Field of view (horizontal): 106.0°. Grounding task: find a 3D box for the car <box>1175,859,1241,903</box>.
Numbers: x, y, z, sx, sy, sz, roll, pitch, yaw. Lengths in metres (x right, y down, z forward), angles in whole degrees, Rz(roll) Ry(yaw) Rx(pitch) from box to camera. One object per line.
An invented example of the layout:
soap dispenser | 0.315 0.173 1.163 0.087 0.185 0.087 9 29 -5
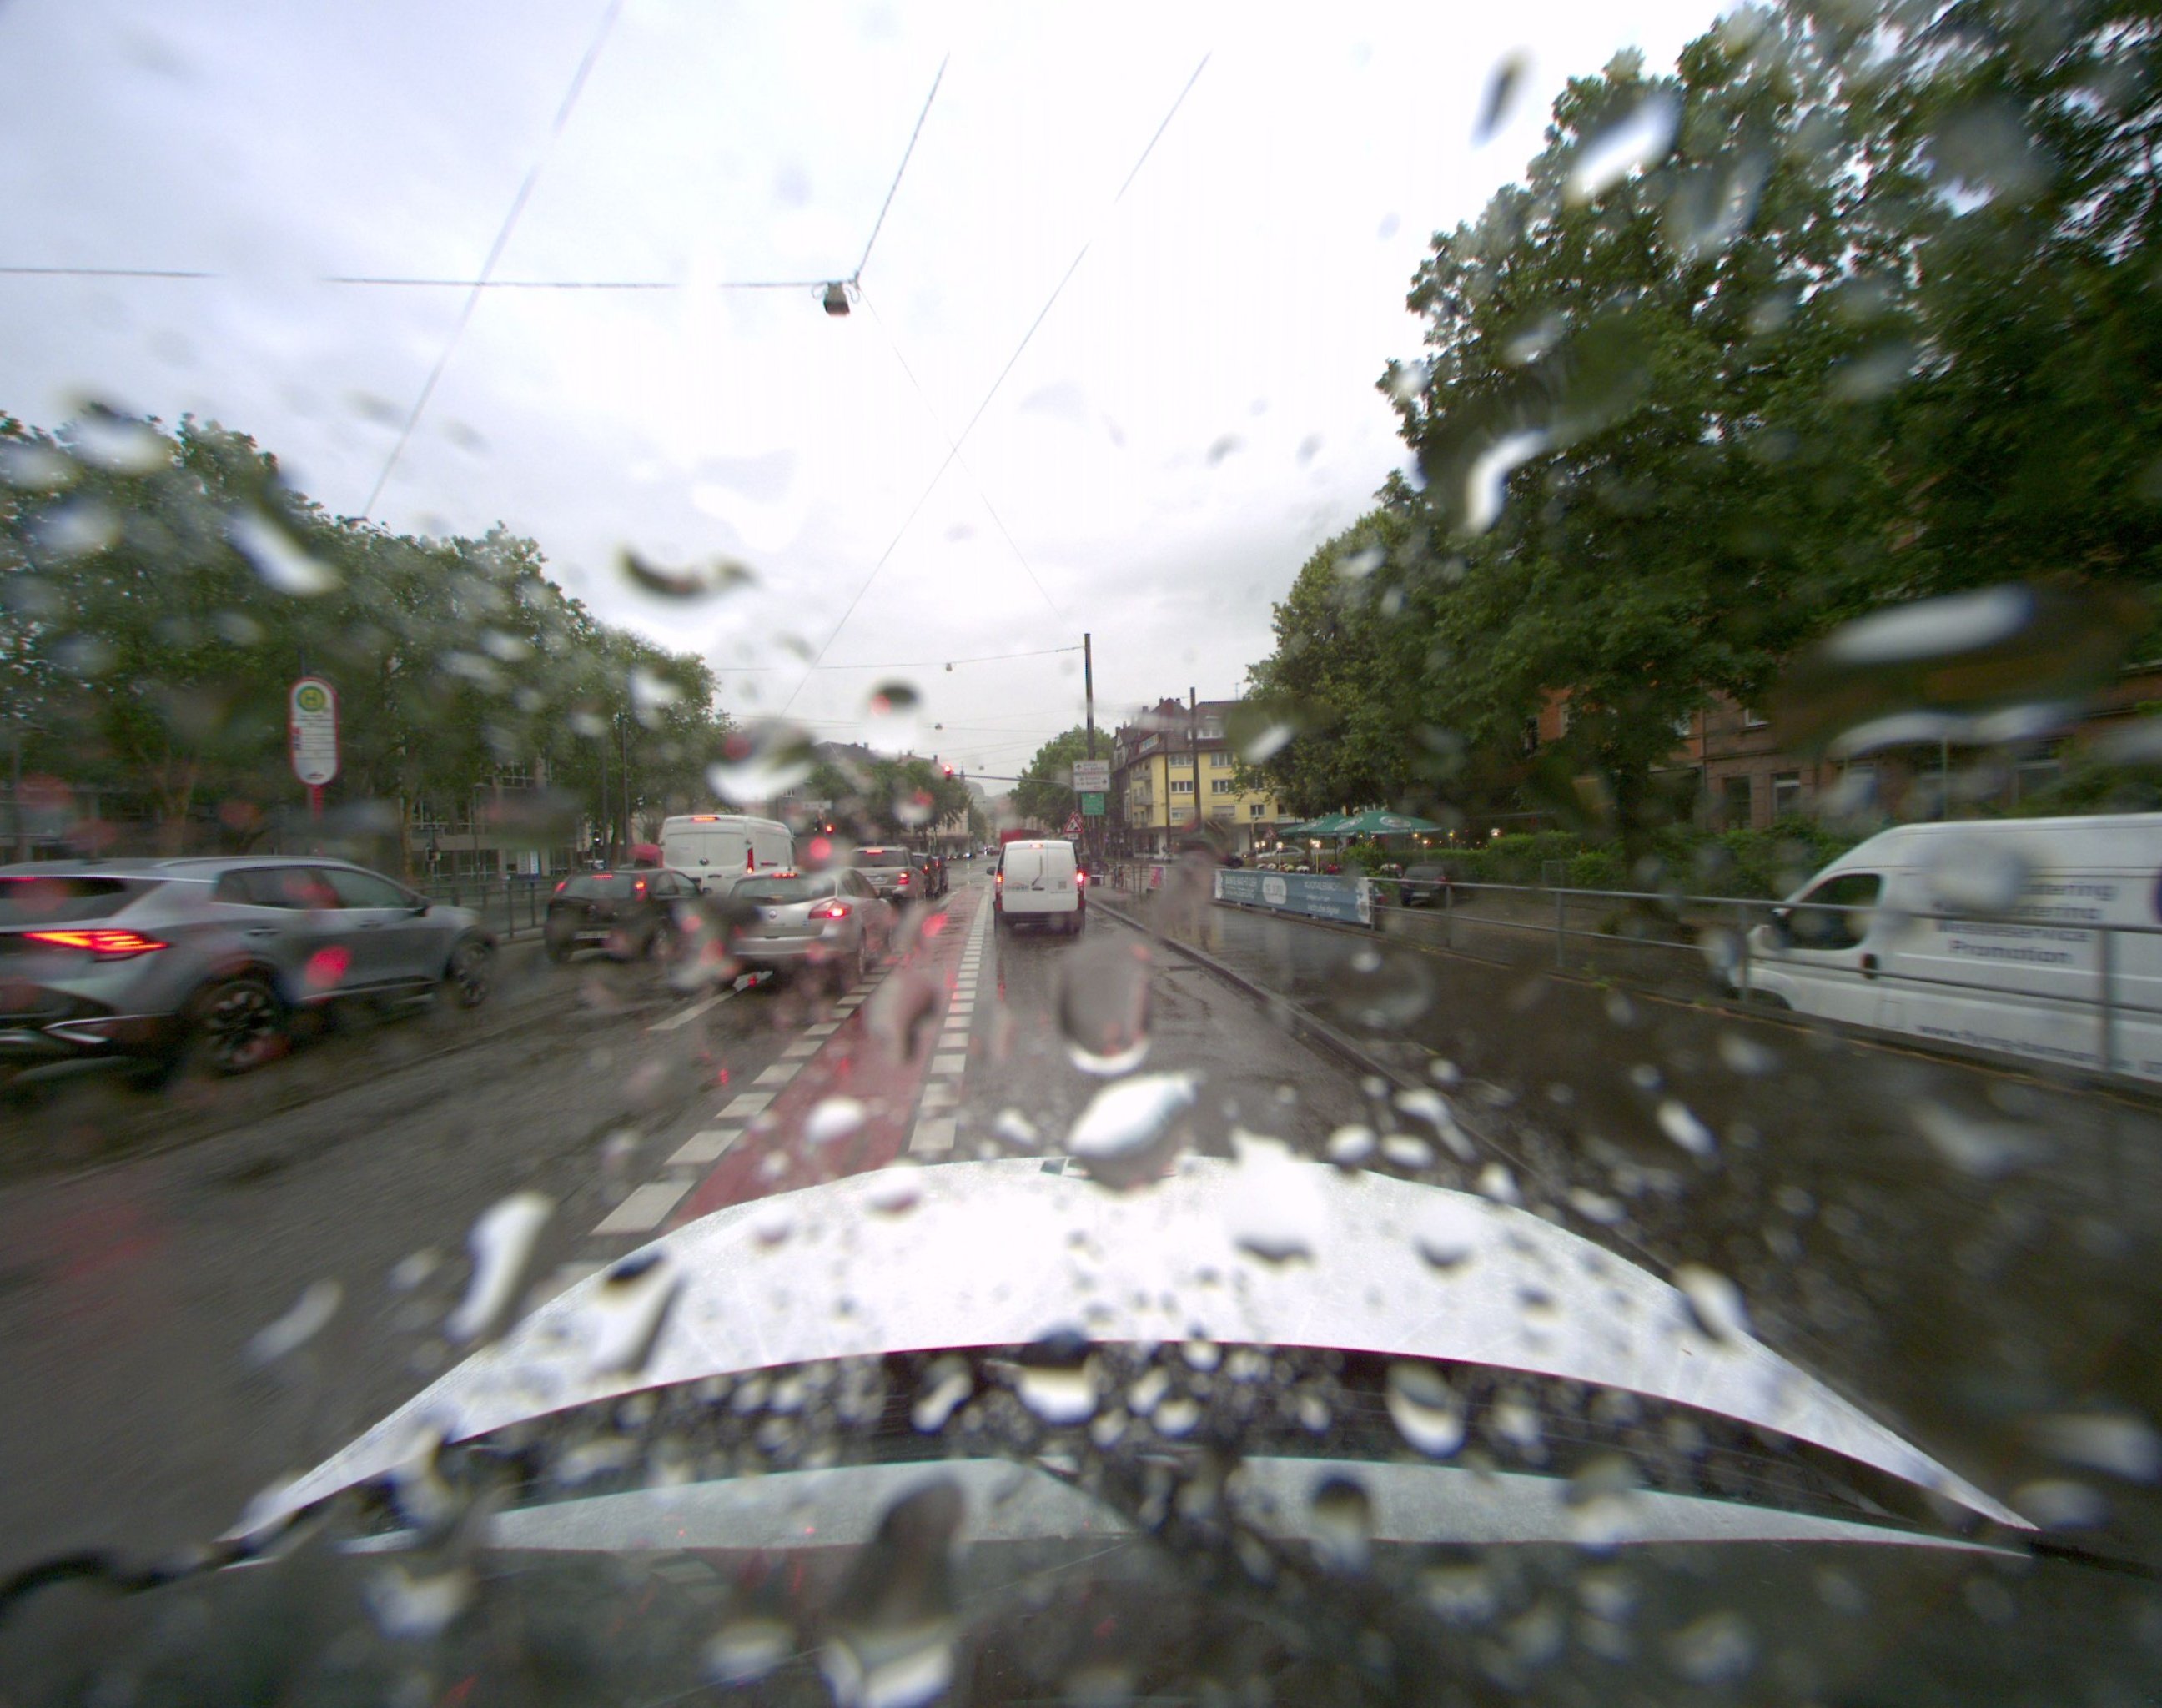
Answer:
car | 4.767 0.970 30.979 1.702 1.442 3.520 2 1 -4

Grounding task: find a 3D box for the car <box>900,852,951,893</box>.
car | -6.415 0.725 33.854 1.725 1.578 3.813 0 0 -6

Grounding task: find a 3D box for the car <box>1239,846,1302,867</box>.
car | 15.767 0.236 68.113 4.912 1.643 2.003 -1 -3 6

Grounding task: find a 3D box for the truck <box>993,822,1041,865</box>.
truck | -8.000 -1.228 104.712 3.452 5.087 15.330 -1 0 5

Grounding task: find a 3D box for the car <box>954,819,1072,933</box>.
car | -1.465 0.411 17.220 2.098 2.012 4.953 -1 0 -6

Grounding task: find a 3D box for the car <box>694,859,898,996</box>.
car | -3.605 0.816 11.058 1.766 1.477 3.991 0 0 -7

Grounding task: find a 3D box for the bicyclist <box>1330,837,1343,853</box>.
bicyclist | 25.465 -0.884 81.036 1.060 1.547 0.938 -1 0 5

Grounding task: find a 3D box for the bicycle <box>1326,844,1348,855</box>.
bicycle | 25.420 -0.455 80.998 2.007 1.027 0.660 0 0 6

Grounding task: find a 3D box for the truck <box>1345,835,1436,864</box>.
truck | 22.044 -0.334 58.178 5.730 2.013 2.111 0 0 -2

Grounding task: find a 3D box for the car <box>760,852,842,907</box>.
car | -8.979 0.766 26.416 1.643 1.629 3.828 -1 0 -6

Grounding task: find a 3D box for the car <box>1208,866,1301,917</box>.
car | 5.315 1.111 25.454 1.700 1.400 3.965 0 0 -6

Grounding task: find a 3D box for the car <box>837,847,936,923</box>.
car | -4.988 0.735 21.514 2.022 1.770 4.452 0 0 -7

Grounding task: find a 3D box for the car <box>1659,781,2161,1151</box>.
car | 8.041 0.738 6.330 2.207 2.420 6.142 0 0 -8

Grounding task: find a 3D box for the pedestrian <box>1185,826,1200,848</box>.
pedestrian | 8.737 -1.336 63.877 0.896 1.669 1.026 -1 0 23

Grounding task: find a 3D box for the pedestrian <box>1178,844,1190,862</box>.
pedestrian | 9.039 -0.082 71.617 0.821 1.534 0.615 0 0 -44

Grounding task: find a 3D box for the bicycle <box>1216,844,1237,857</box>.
bicycle | 15.098 -0.389 84.610 2.089 1.261 0.533 -1 1 8

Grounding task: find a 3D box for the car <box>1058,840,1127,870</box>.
car | 0.746 0.059 52.414 4.006 1.866 1.984 0 0 -25

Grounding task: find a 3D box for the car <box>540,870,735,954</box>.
car | -7.285 0.880 13.841 1.461 1.117 4.078 0 0 -7

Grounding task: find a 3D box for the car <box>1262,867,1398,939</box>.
car | 6.037 1.122 20.256 1.731 1.539 4.064 0 0 -7

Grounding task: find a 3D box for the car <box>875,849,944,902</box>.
car | -5.781 0.688 27.895 1.832 1.668 4.164 0 0 -6

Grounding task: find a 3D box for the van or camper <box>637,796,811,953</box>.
van or camper | -8.255 0.415 19.571 2.156 3.141 5.836 -2 0 -7

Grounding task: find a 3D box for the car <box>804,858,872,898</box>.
car | -9.657 0.904 32.678 1.841 1.484 3.993 0 0 -5

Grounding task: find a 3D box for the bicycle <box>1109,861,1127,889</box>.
bicycle | 1.561 0.874 34.653 0.513 1.107 2.014 2 0 -4

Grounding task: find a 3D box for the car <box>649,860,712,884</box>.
car | -23.517 1.045 47.955 1.585 1.314 3.532 -1 0 8

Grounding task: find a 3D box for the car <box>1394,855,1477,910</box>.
car | 12.358 0.921 28.271 1.974 1.713 4.025 -1 0 33

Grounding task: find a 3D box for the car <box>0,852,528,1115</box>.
car | -7.271 0.838 7.293 1.912 1.624 4.445 -2 0 -6
